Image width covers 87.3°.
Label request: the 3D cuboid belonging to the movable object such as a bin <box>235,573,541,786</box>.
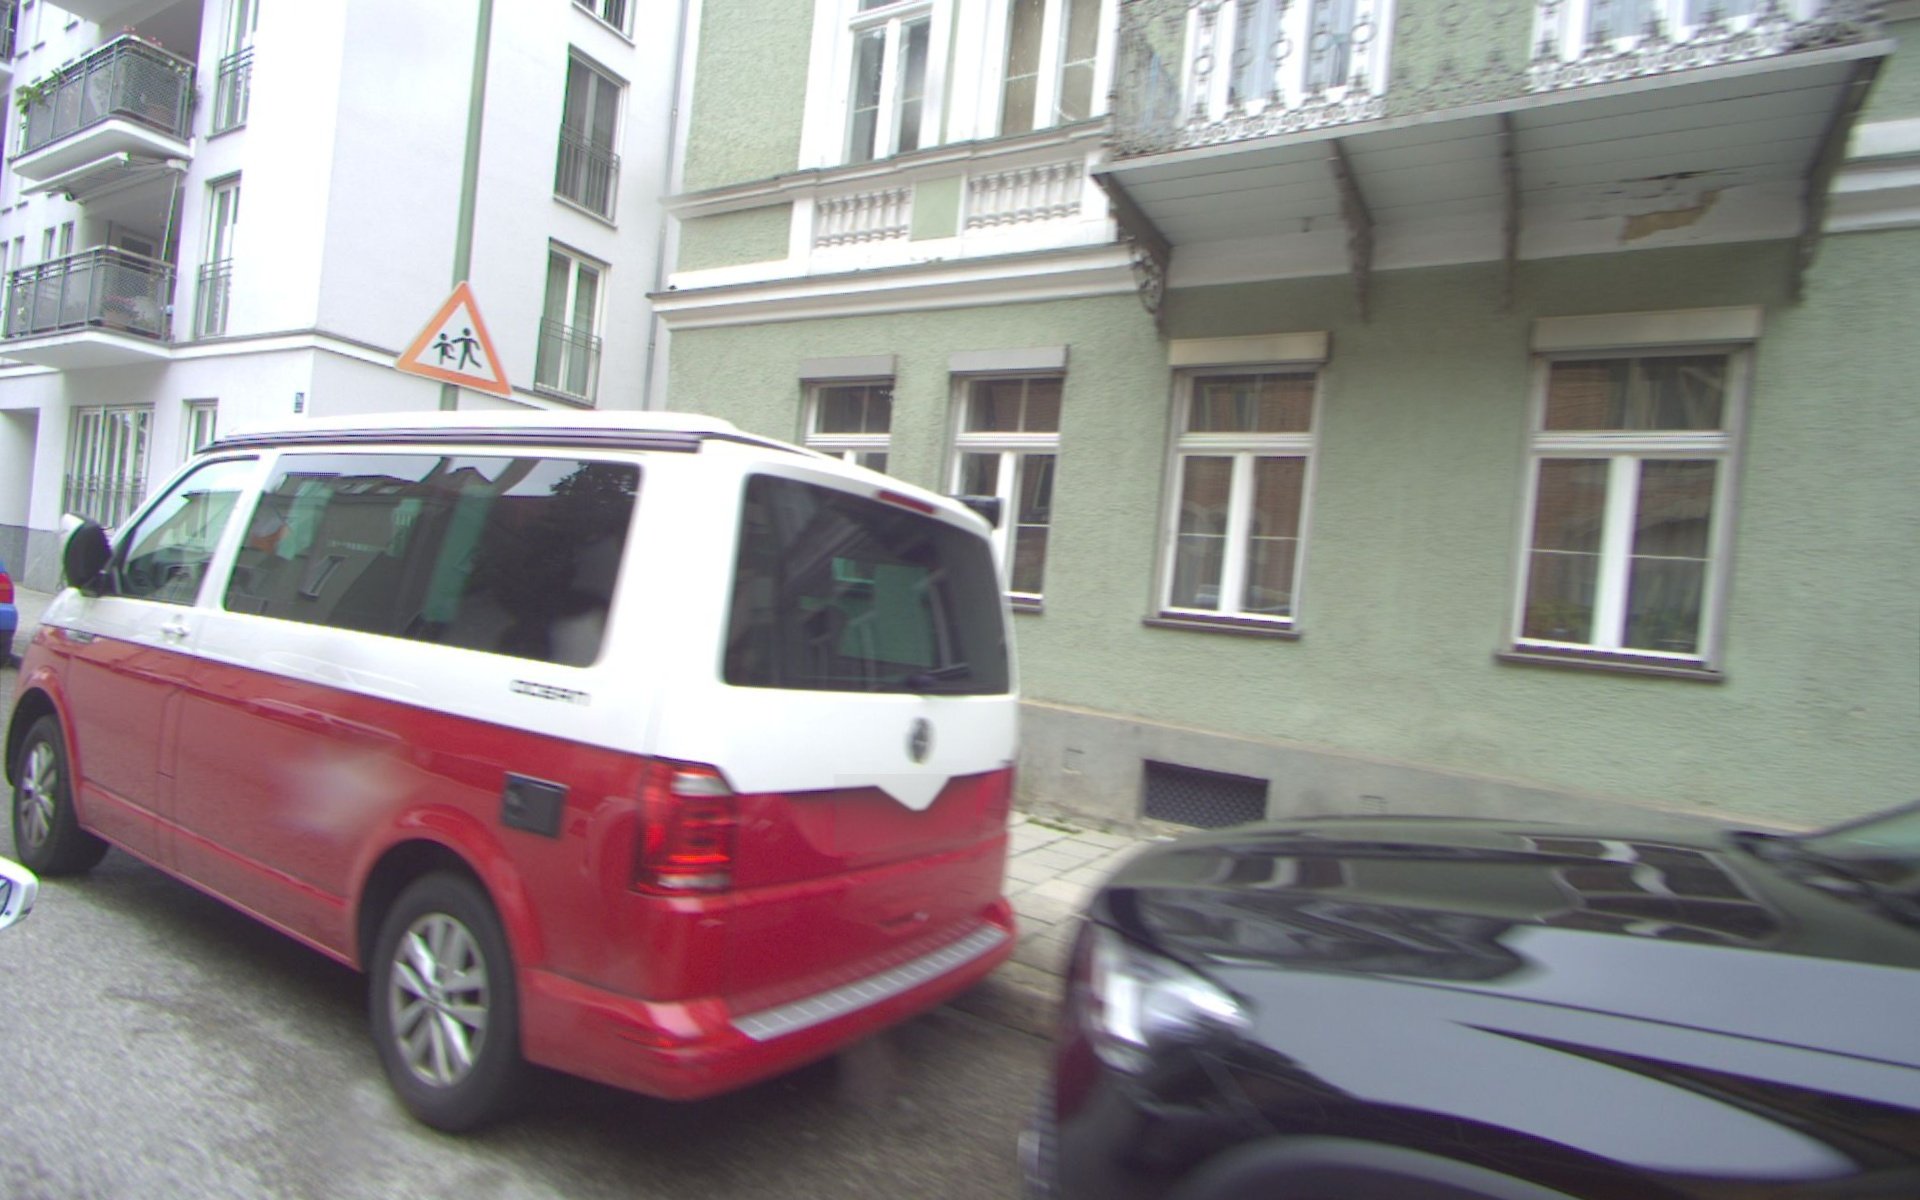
[{"bbox_3d":[-4.226,0.509,7.390,2.128,1.209,1.021,6,2,32],"label":"movable object such as a bin"}]

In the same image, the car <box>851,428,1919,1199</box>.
[{"bbox_3d":[2.289,0.849,1.220,4.620,1.732,1.857,6,1,32],"label":"car"}]

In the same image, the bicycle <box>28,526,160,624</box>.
[{"bbox_3d":[-12.458,-0.367,14.452,1.941,1.186,0.803,6,-1,32],"label":"bicycle"}]

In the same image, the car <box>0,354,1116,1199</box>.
[{"bbox_3d":[-2.006,0.373,4.137,4.703,2.055,1.857,6,-1,31],"label":"car"}]

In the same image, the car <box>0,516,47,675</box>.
[{"bbox_3d":[-10.620,-0.245,9.621,3.657,1.440,1.718,6,-1,31],"label":"car"}]
